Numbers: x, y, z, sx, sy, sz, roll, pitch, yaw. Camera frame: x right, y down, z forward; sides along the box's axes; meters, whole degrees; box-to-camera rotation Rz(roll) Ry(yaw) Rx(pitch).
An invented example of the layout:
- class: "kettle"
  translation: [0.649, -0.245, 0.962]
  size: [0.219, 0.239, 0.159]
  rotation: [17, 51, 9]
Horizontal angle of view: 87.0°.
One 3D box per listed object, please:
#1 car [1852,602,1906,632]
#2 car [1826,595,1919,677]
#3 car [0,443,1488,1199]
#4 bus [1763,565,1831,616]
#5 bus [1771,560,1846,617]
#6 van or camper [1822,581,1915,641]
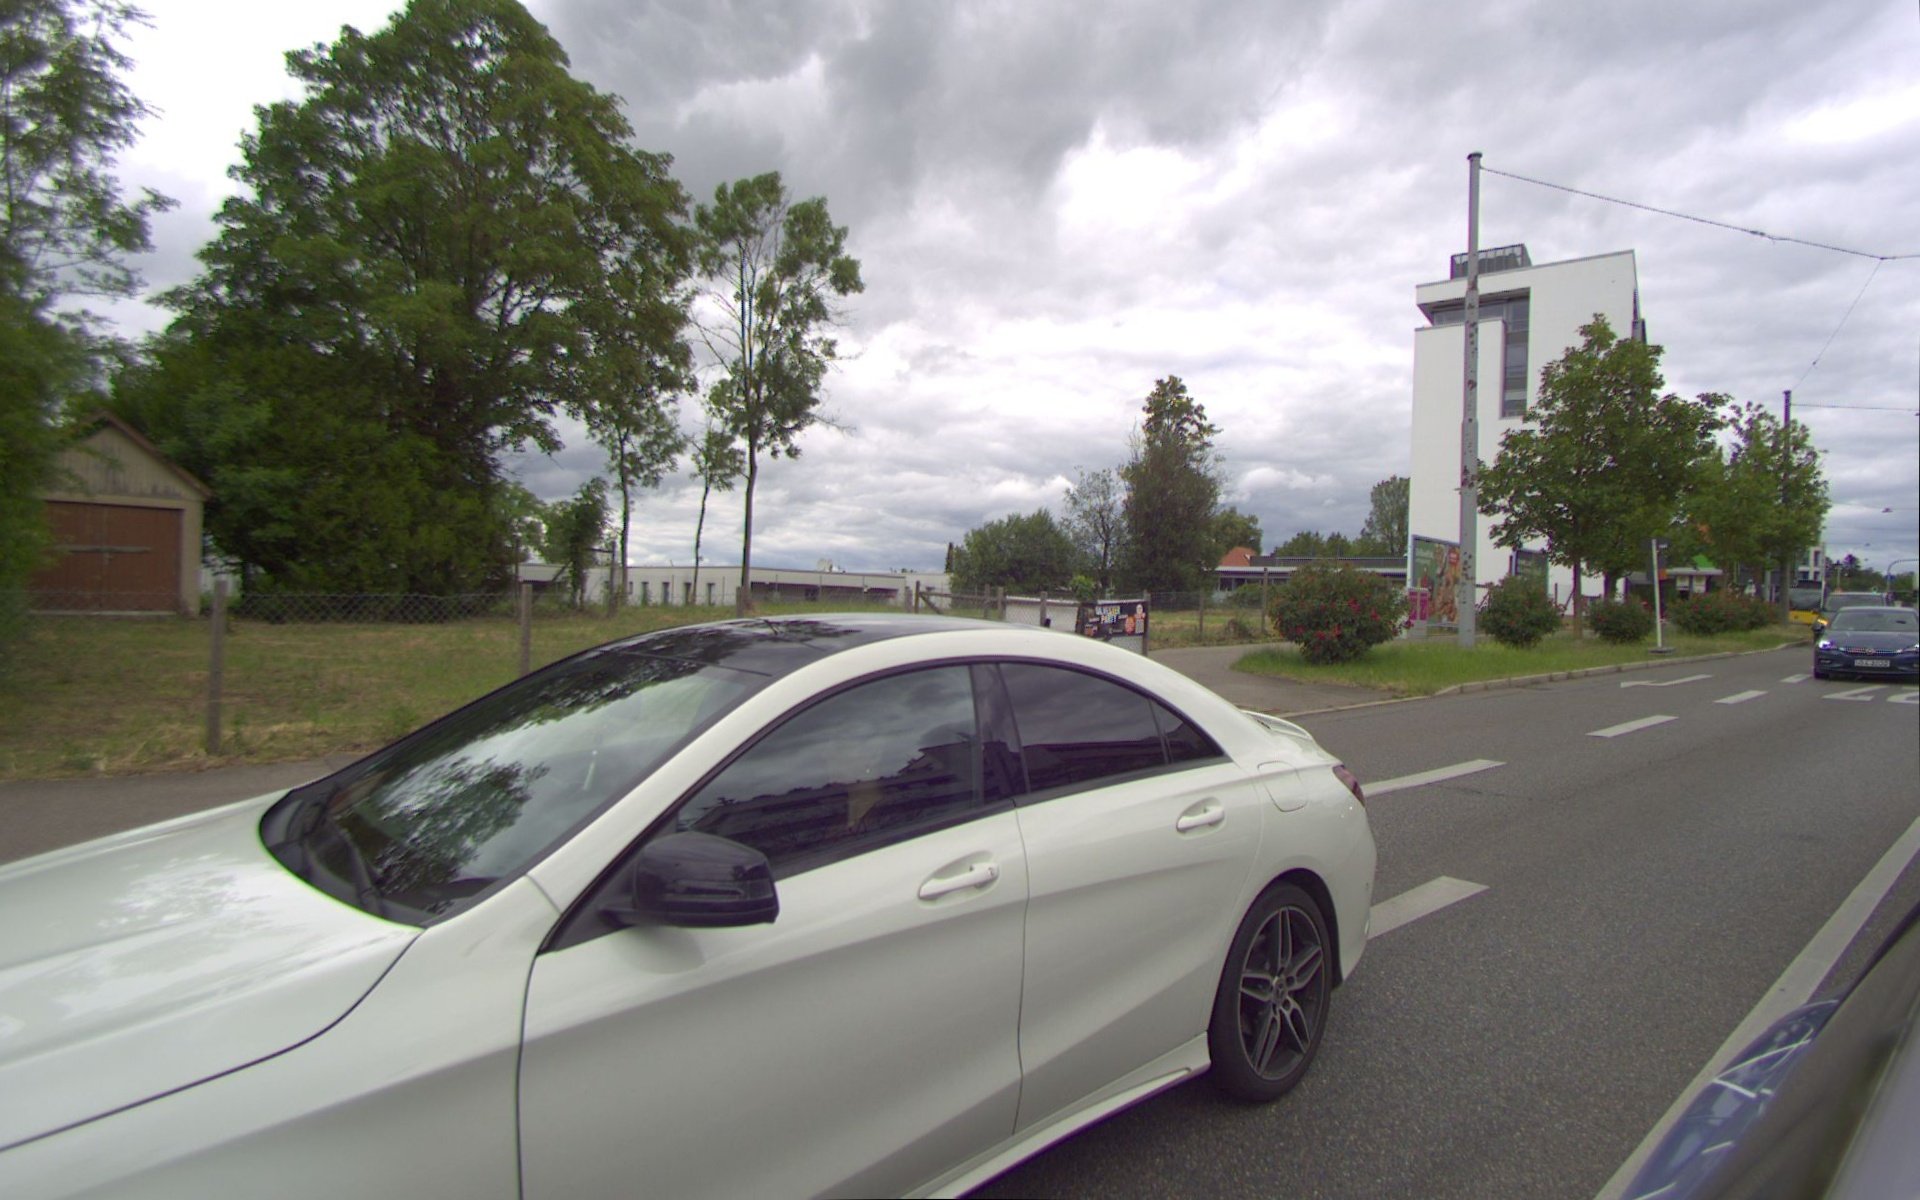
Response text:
- class: "car"
  translation: [48.882, 0.879, 53.897]
  size: [1.727, 1.501, 4.310]
  rotation: [0, 0, 37]
- class: "car"
  translation: [18.856, 0.664, 20.416]
  size: [4.296, 1.501, 1.732]
  rotation: [0, 0, -44]
- class: "car"
  translation: [-0.424, 0.593, 2.927]
  size: [4.689, 1.524, 1.871]
  rotation: [1, 0, -41]
- class: "bus"
  translation: [58.531, -0.603, 70.973]
  size: [3.028, 3.276, 9.214]
  rotation: [2, 1, 36]
- class: "bus"
  translation: [52.983, -0.672, 63.422]
  size: [2.975, 3.282, 9.734]
  rotation: [1, 1, 37]
- class: "van or camper"
  translation: [30.729, 0.350, 34.197]
  size: [4.764, 1.902, 1.807]
  rotation: [0, 0, -41]
